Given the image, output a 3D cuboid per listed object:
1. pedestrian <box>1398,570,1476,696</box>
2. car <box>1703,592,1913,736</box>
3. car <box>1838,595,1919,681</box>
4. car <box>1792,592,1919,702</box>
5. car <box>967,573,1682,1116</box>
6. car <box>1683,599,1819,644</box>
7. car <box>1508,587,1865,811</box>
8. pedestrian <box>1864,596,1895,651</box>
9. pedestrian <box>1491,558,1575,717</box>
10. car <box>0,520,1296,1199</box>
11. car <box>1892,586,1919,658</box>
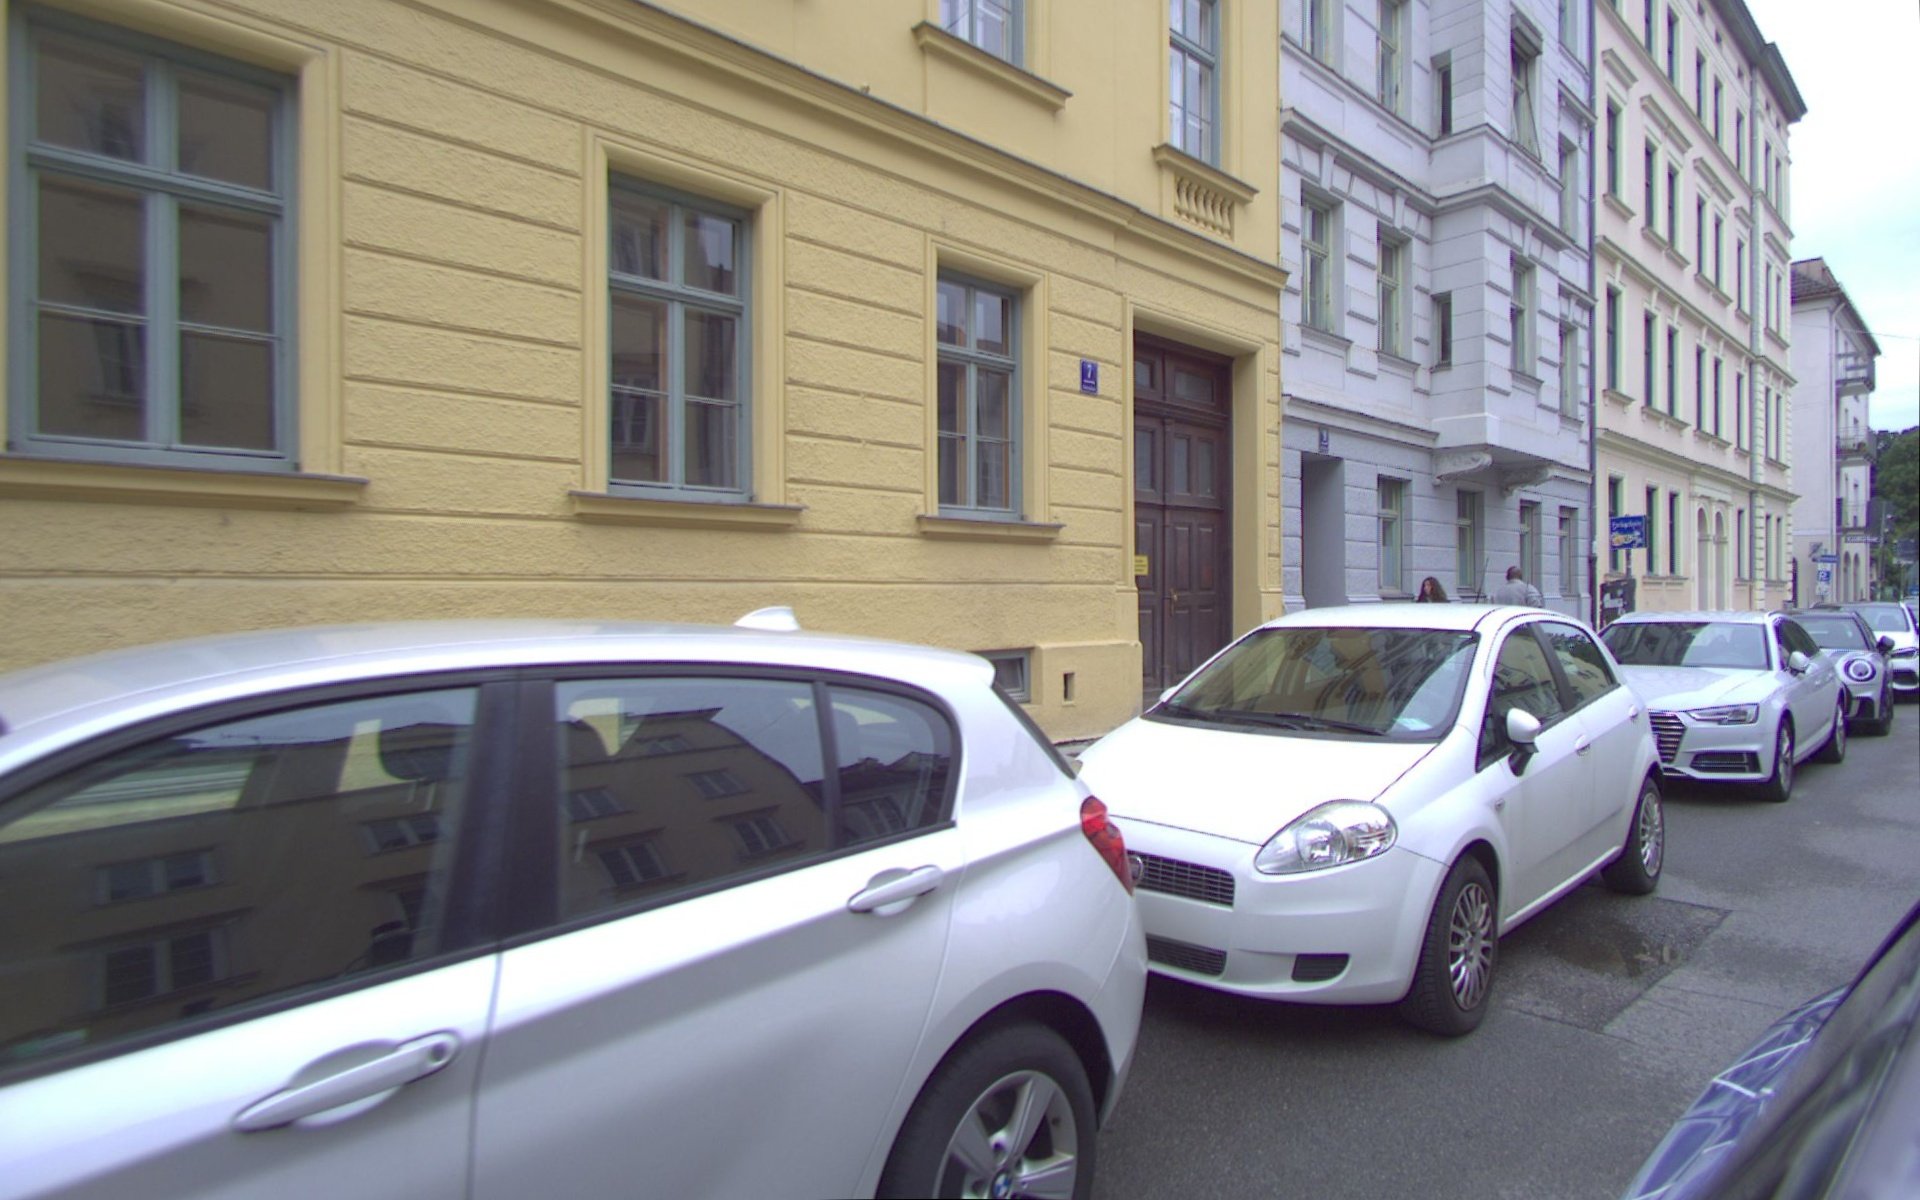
[{"bbox_3d":[6.331,0.416,13.434,0.613,1.594,0.647,1,3,-37],"label":"pedestrian"},{"bbox_3d":[10.879,0.684,12.889,3.872,1.529,1.718,0,1,-45],"label":"car"},{"bbox_3d":[19.157,0.712,20.371,4.071,1.586,1.720,0,1,-42],"label":"car"},{"bbox_3d":[15.521,0.708,17.135,4.251,1.621,1.718,0,1,-44],"label":"car"},{"bbox_3d":[1.932,0.674,4.716,3.698,1.529,1.625,0,1,-43],"label":"car"},{"bbox_3d":[30.791,0.776,39.460,1.684,1.585,3.990,0,1,-44],"label":"car"},{"bbox_3d":[6.689,0.679,9.113,4.392,1.529,1.719,0,1,-42],"label":"car"},{"bbox_3d":[31.161,0.796,34.280,0.717,1.825,0.697,1,0,-42],"label":"pedestrian"},{"bbox_3d":[7.081,0.439,12.510,0.792,1.886,0.702,1,0,-44],"label":"pedestrian"},{"bbox_3d":[-1.332,0.669,1.835,4.512,1.529,1.817,0,1,-44],"label":"car"},{"bbox_3d":[27.473,0.604,27.924,5.024,1.884,1.997,0,1,-41],"label":"car"}]
